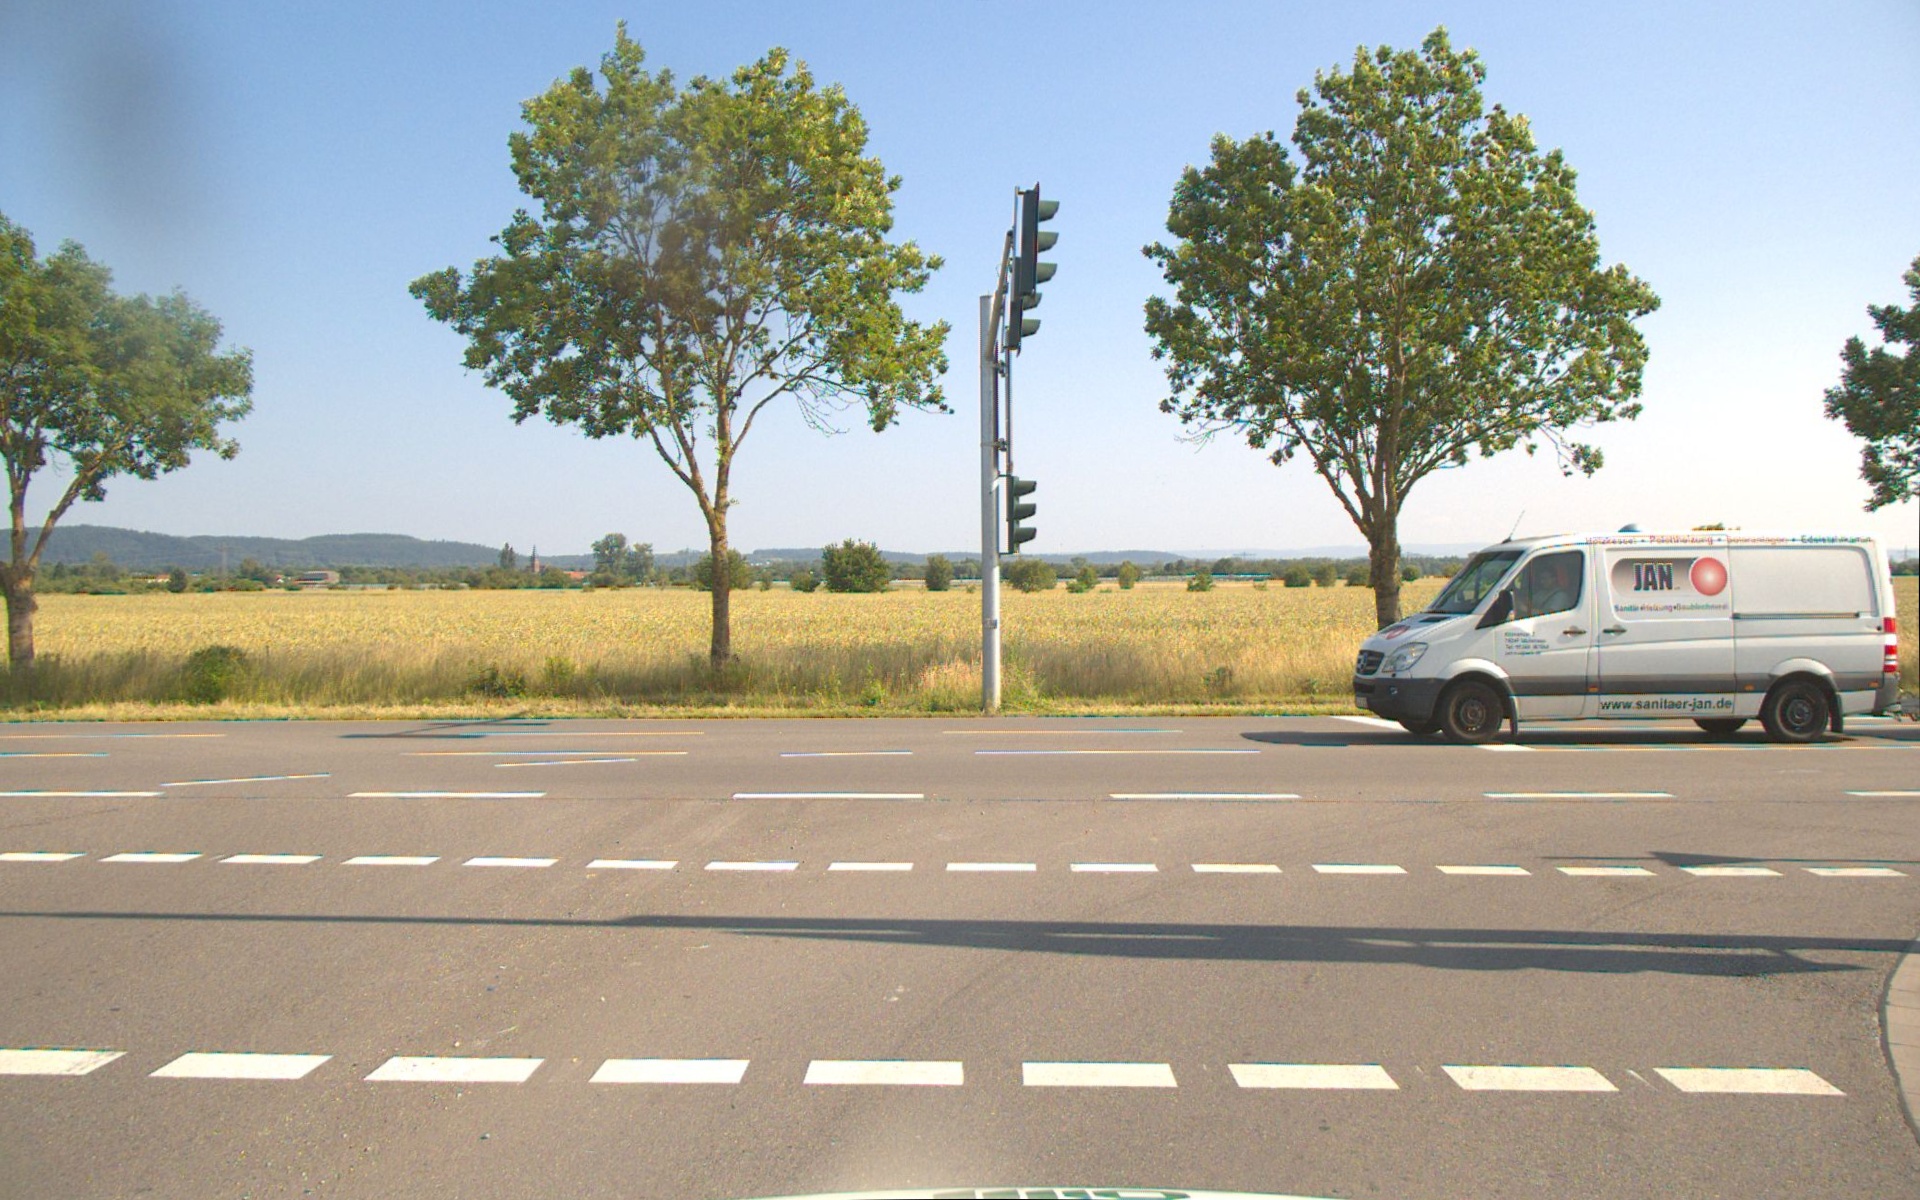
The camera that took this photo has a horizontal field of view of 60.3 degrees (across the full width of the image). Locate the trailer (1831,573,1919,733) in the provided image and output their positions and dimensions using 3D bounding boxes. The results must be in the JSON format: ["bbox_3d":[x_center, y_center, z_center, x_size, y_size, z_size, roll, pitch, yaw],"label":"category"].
[{"bbox_3d":[13.038,0.575,19.152,4.895,1.768,1.980,0,-1,-3],"label":"trailer"}]

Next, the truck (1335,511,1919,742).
[{"bbox_3d":[7.556,0.289,18.887,6.053,2.447,2.071,0,-1,-1],"label":"truck"}]
